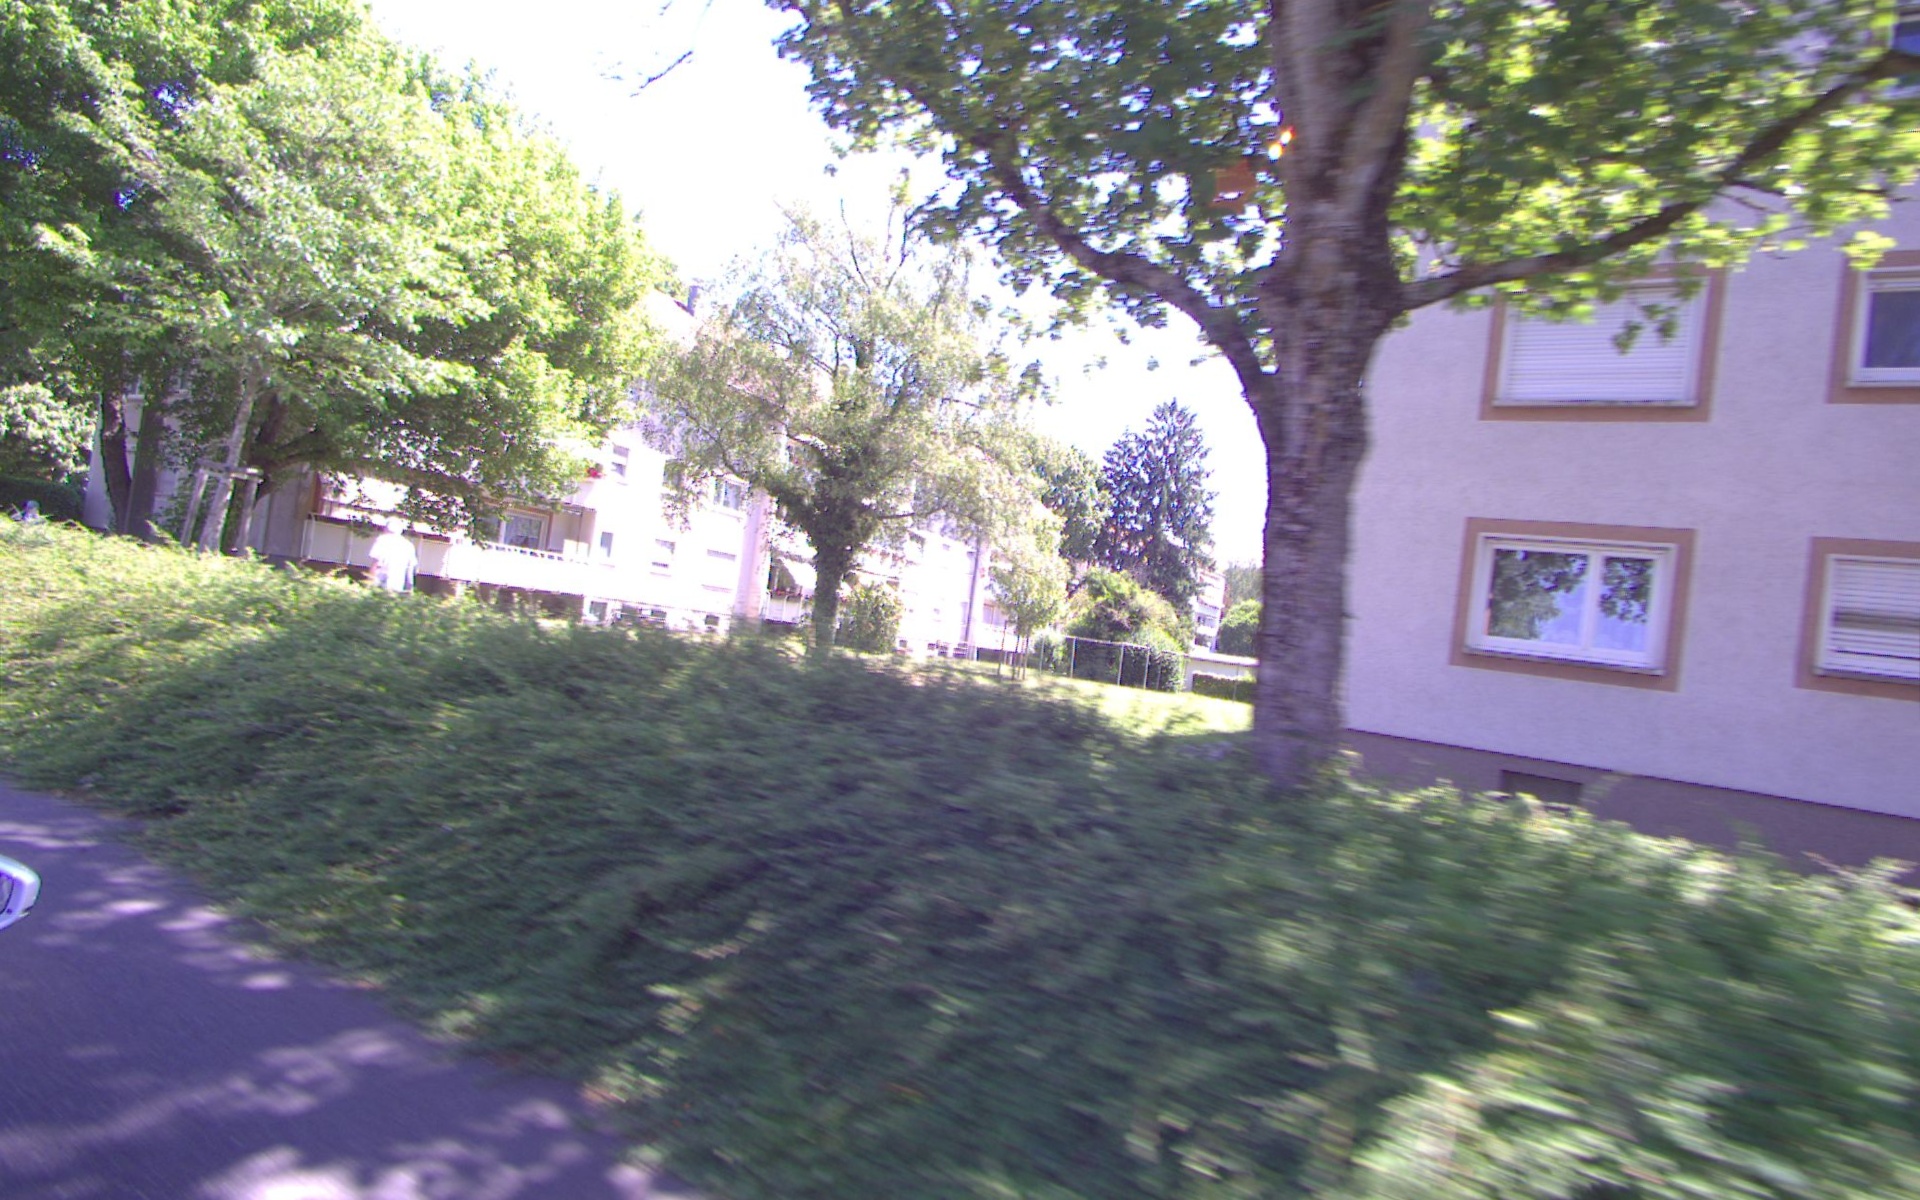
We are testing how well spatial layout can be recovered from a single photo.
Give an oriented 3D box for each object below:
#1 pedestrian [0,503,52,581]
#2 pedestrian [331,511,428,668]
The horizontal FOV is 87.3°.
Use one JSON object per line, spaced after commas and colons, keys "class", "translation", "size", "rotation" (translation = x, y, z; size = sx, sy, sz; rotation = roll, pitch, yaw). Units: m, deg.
{"class": "pedestrian", "translation": [-17.772, -1.094, 18.955], "size": [0.874, 1.350, 0.662], "rotation": [6, -1, 32]}
{"class": "pedestrian", "translation": [-7.564, -0.125, 13.128], "size": [0.649, 1.937, 0.704], "rotation": [7, 0, 35]}
